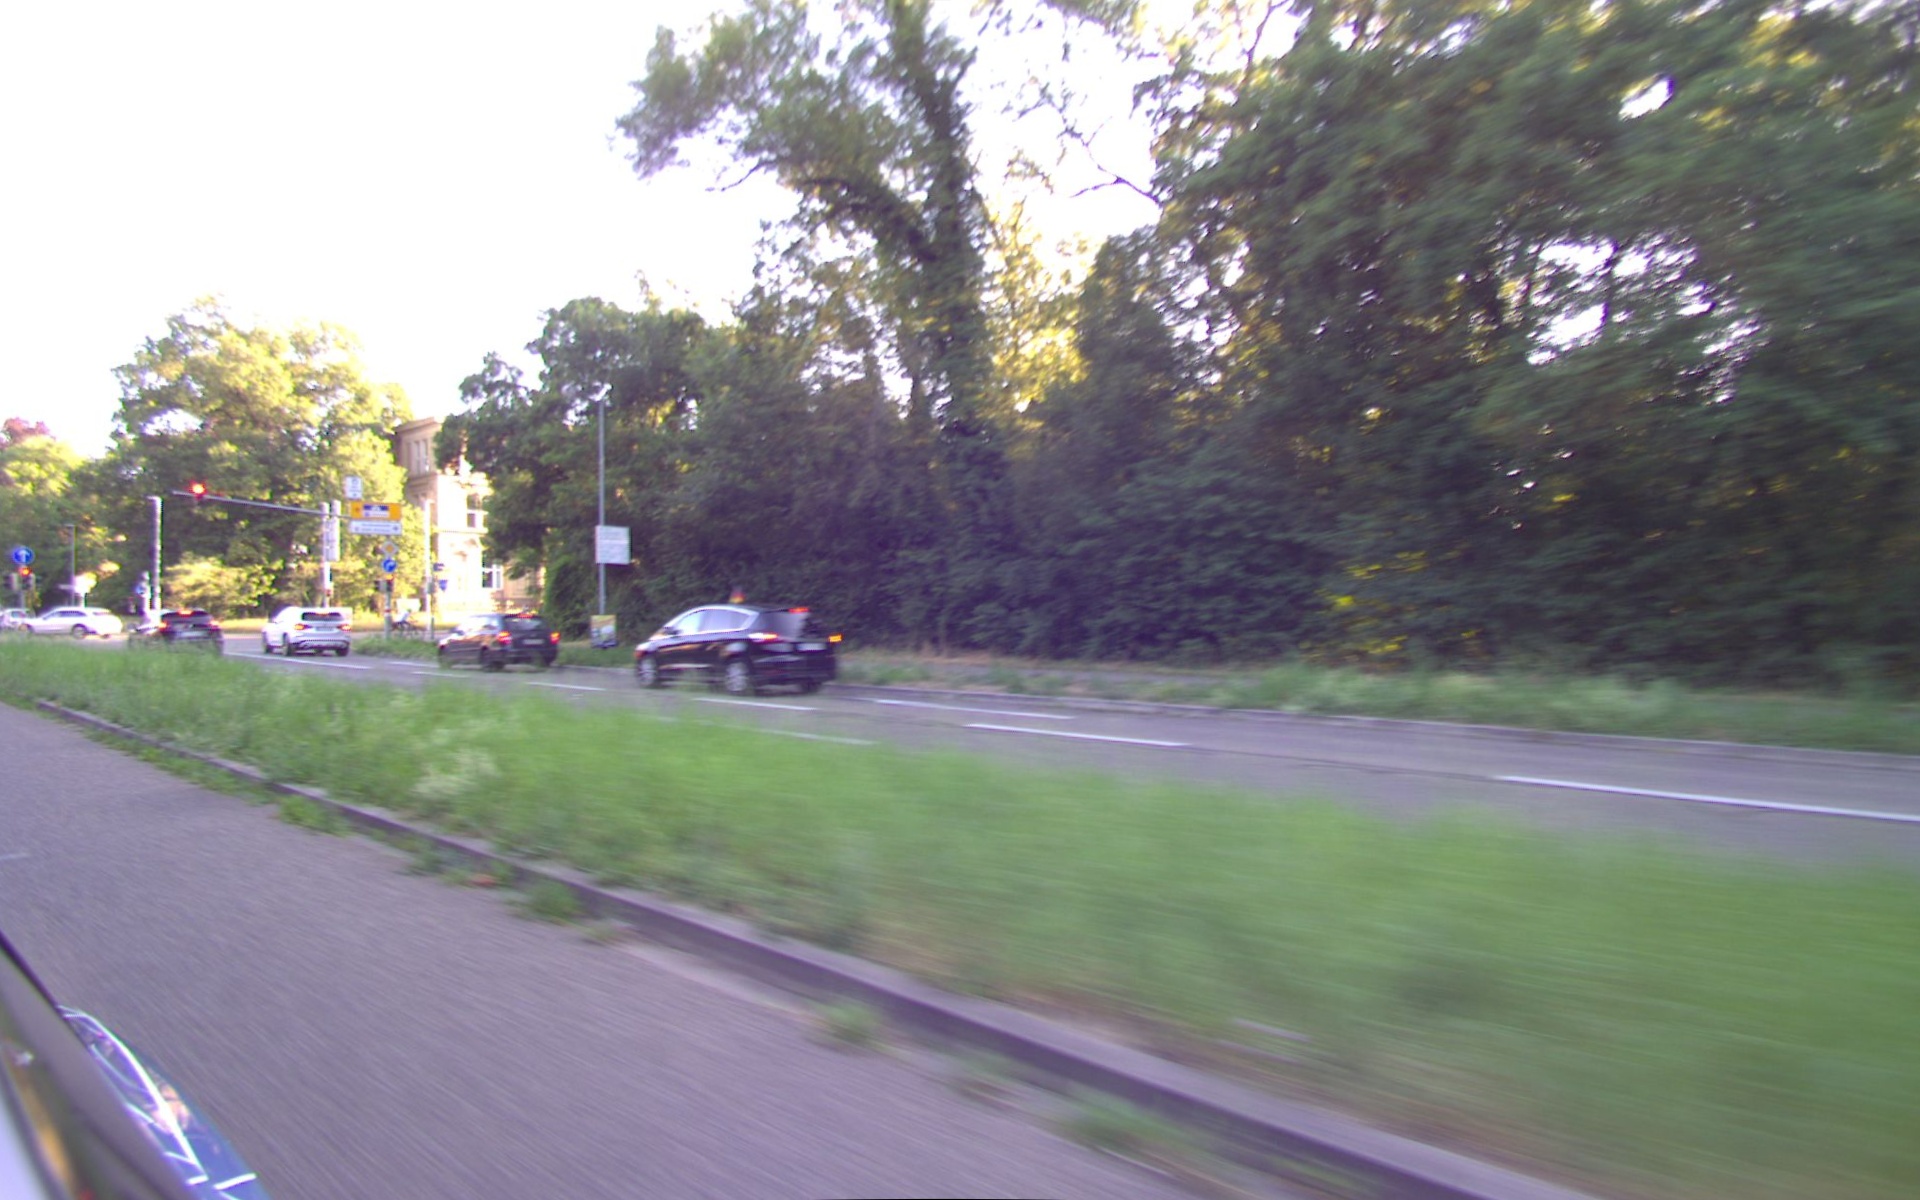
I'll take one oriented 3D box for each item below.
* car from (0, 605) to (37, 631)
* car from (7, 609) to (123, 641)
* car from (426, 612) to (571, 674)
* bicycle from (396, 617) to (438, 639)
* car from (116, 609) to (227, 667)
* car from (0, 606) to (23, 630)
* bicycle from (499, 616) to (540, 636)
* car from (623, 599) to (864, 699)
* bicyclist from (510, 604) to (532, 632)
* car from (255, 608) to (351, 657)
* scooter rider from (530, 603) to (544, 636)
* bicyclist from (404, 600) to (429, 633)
[{"bbox_3d":[-70.525,1.349,75.565,4.117,1.859,1.838,-1,-1,40],"label":"car"},{"bbox_3d":[-47.752,1.328,54.068,4.443,1.648,1.773,0,-1,-6],"label":"car"},{"bbox_3d":[-12.003,1.081,26.240,4.230,1.491,1.804,-1,-2,41],"label":"car"},{"bbox_3d":[-26.164,1.326,48.775,0.562,1.022,1.785,-1,-1,27],"label":"bicycle"},{"bbox_3d":[-24.160,1.138,30.960,4.448,1.640,1.795,-1,-2,41],"label":"car"},{"bbox_3d":[-75.301,1.434,79.664,4.185,1.859,1.837,-1,-1,41],"label":"car"},{"bbox_3d":[-24.153,1.418,55.495,0.770,1.014,1.997,0,0,28],"label":"bicycle"},{"bbox_3d":[-4.127,0.850,18.849,4.649,1.640,1.973,-1,-2,41],"label":"car"},{"bbox_3d":[-24.100,0.983,55.590,0.759,1.529,0.848,0,0,29],"label":"bicyclist"},{"bbox_3d":[-23.247,1.134,35.736,4.642,1.625,1.801,-1,-3,44],"label":"car"},{"bbox_3d":[-23.083,1.082,55.264,0.567,1.780,0.498,-1,-2,42],"label":"scooter rider"},{"bbox_3d":[-26.188,0.803,48.745,0.553,1.581,0.890,-1,-1,27],"label":"bicyclist"}]
